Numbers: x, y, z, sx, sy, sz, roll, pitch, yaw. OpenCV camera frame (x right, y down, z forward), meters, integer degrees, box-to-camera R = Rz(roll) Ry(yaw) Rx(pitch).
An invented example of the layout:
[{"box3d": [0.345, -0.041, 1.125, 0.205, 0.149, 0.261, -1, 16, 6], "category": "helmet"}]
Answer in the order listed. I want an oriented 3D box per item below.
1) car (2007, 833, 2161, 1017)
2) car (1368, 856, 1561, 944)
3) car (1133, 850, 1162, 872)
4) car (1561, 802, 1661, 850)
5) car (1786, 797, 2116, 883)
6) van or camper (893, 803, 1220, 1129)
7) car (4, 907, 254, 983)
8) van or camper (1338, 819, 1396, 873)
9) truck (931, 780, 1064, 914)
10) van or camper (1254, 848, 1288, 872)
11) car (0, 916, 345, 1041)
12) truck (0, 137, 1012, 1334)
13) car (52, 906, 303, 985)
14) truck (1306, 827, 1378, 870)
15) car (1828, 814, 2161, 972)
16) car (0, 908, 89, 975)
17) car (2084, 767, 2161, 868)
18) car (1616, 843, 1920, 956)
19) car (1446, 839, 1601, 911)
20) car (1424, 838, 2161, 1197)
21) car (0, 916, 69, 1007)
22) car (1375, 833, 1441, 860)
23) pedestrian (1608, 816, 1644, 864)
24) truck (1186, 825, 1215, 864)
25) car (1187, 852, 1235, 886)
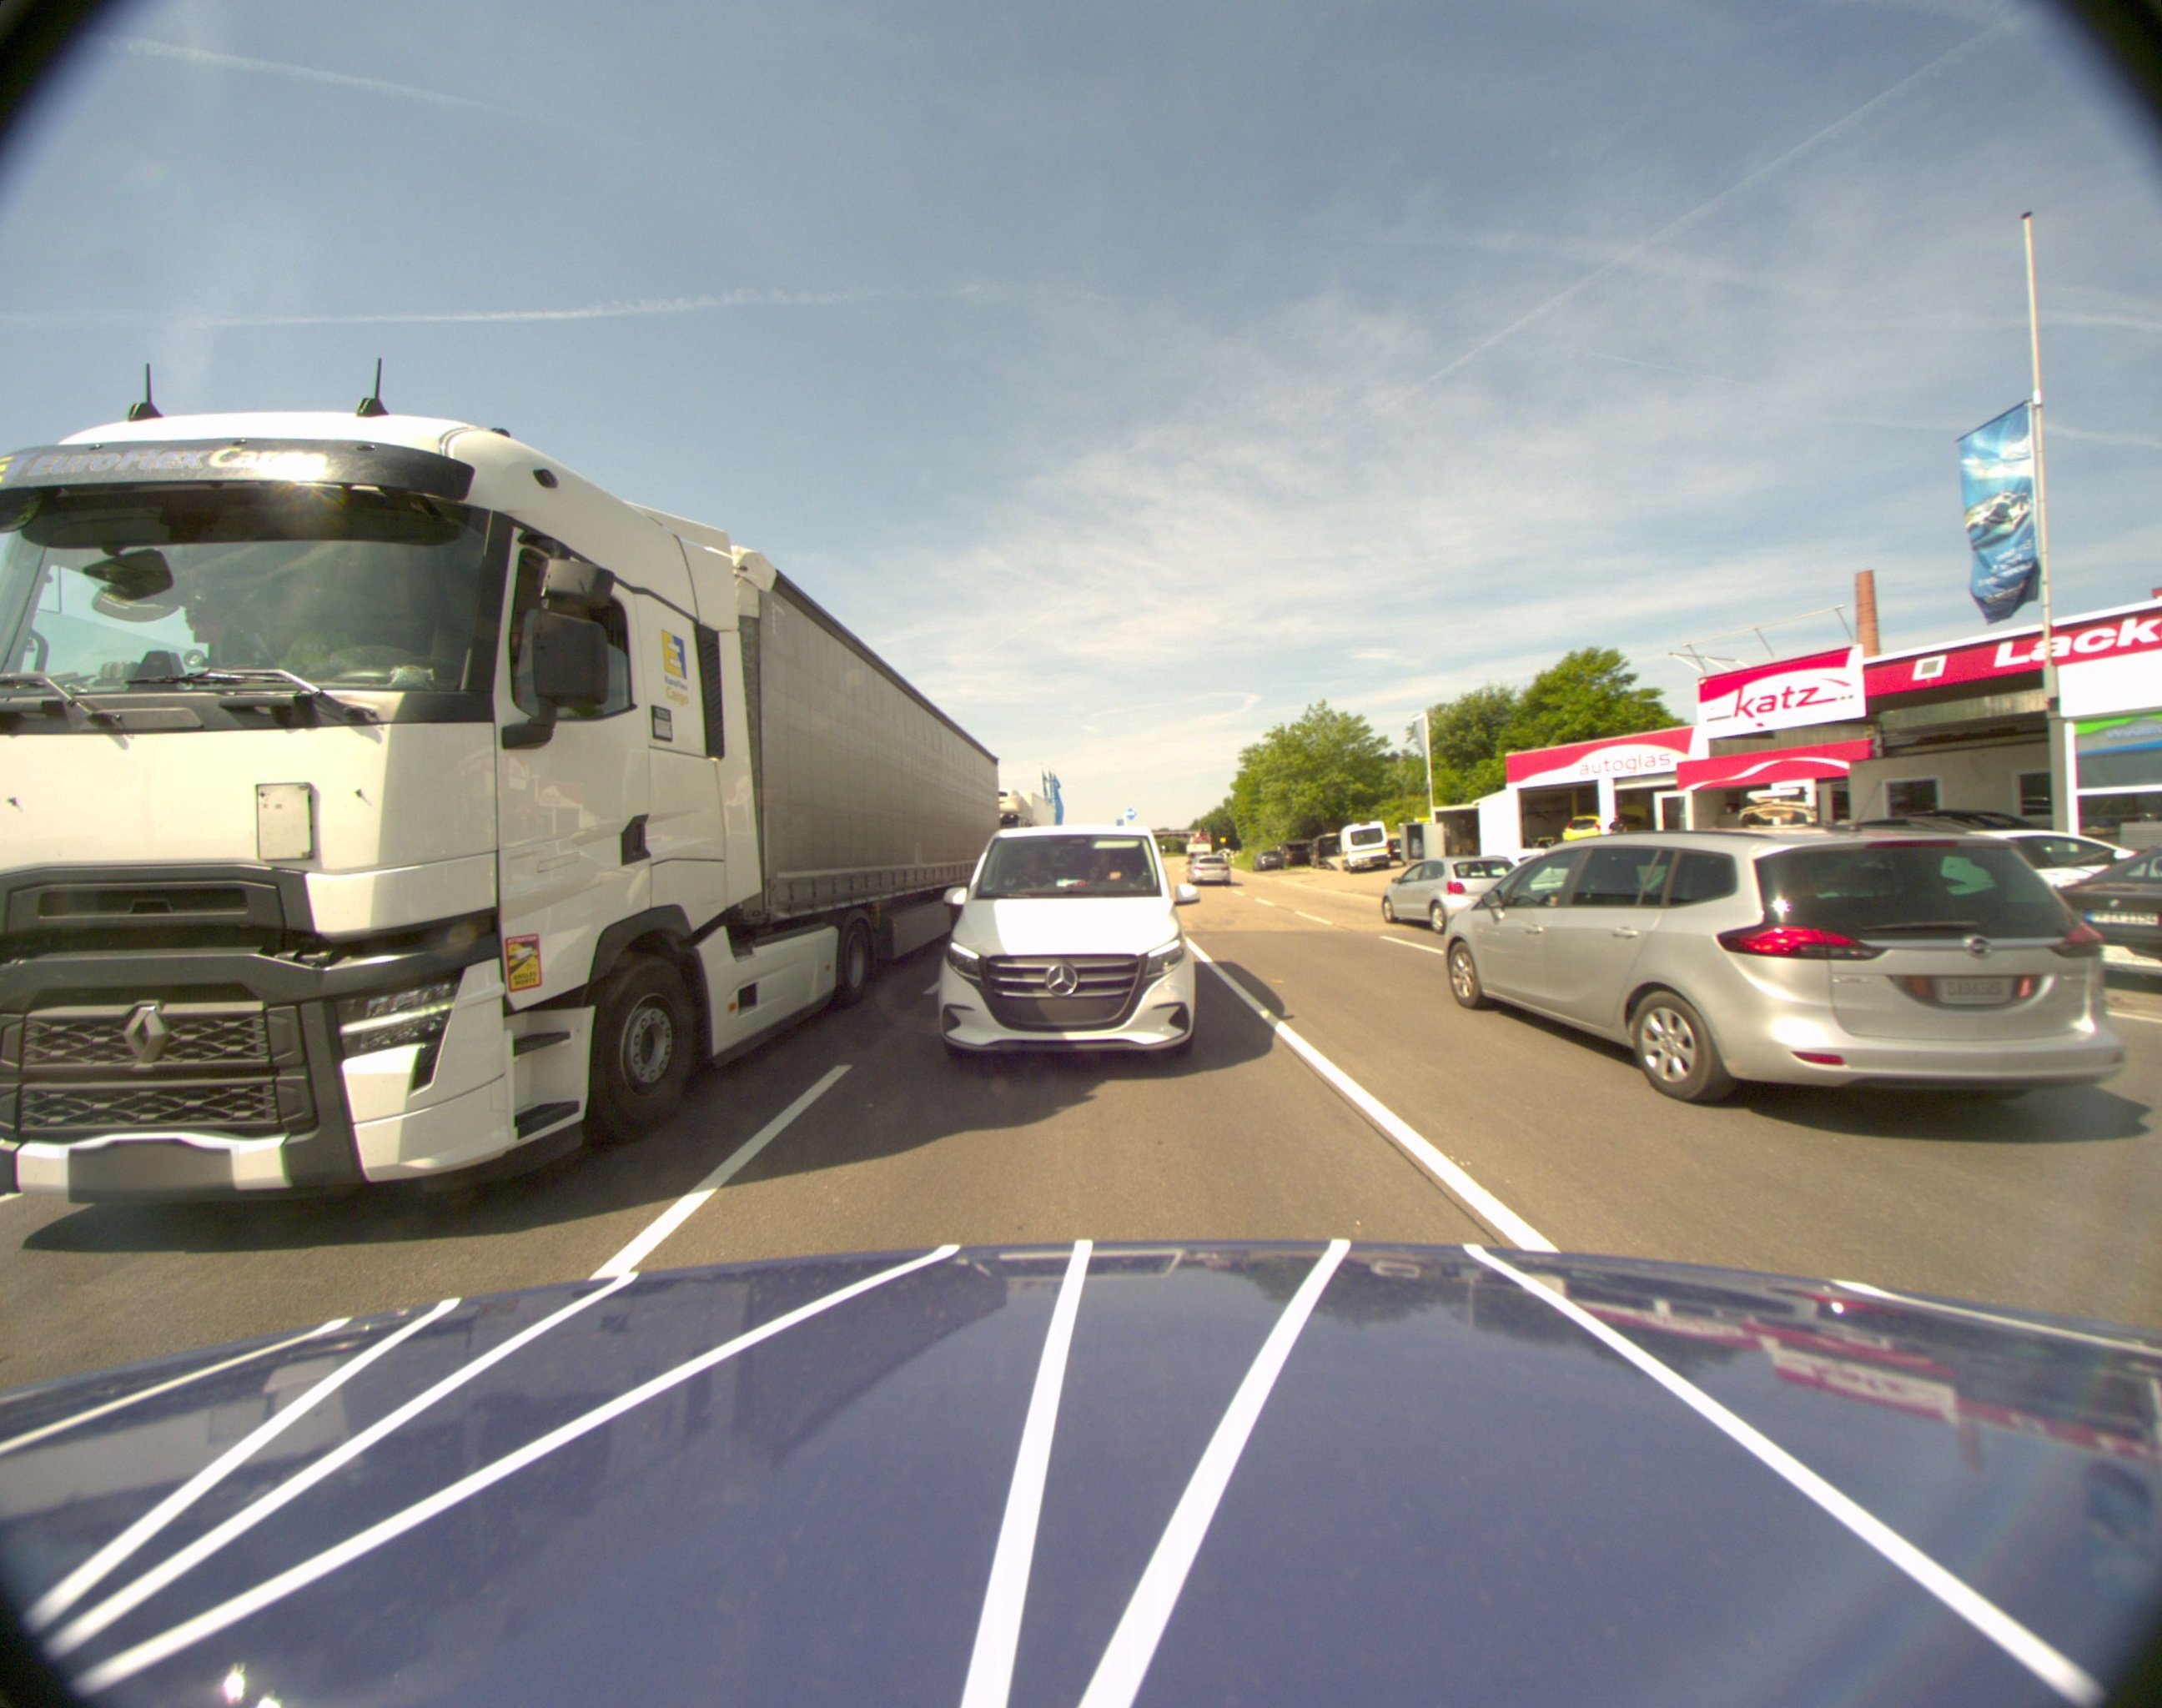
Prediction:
[{"box3d": [11.481, 0.514, 6.990, 3.717, 1.516, 1.792, -6, 1, -2], "category": "car"}, {"box3d": [7.427, 0.811, 15.234, 1.841, 1.440, 4.081, -2, 0, 1], "category": "car"}, {"box3d": [4.926, 0.491, 56.763, 1.810, 1.551, 4.387, -2, 0, 2], "category": "car"}, {"box3d": [22.933, -1.204, 32.875, 3.674, 1.715, 1.736, -6, 2, -21], "category": "car"}, {"box3d": [18.975, -0.223, 16.892, 1.861, 1.496, 4.389, -5, -1, -22], "category": "car"}, {"box3d": [-0.047, 0.717, 7.492, 1.998, 2.002, 5.291, -3, 0, 2], "category": "van or camper"}, {"box3d": [-23.346, 2.170, 18.859, 1.562, 1.401, 3.596, -1, 1, 3], "category": "car"}, {"box3d": [15.352, -0.446, 41.115, 2.157, 2.484, 5.956, -6, 0, 15], "category": "van or camper"}, {"box3d": [-2.559, -0.235, 27.671, 2.886, 3.789, 11.143, -2, 0, 3], "category": "truck"}, {"box3d": [13.625, 0.373, 54.717, 1.643, 1.515, 4.468, -3, 1, 6], "category": "van or camper"}, {"box3d": [-14.273, 1.846, 11.802, 3.669, 1.394, 1.735, -3, 0, -26], "category": "car"}, {"box3d": [-3.618, -0.418, 11.109, 2.897, 4.241, 16.710, -2, 0, 2], "category": "truck"}, {"box3d": [-21.253, 2.089, 18.110, 1.562, 1.401, 3.596, -1, 1, 3], "category": "car"}, {"box3d": [16.578, -0.370, 48.957, 2.335, 2.283, 8.806, -7, 0, 7], "category": "truck"}, {"box3d": [12.447, 0.419, 9.782, 3.806, 1.516, 1.846, -6, 1, -2], "category": "car"}, {"box3d": [-28.814, 2.353, 19.336, 1.707, 1.608, 3.970, -3, 0, 6], "category": "car"}, {"box3d": [20.484, -0.723, 12.962, 1.706, 1.749, 3.754, -6, 2, -25], "category": "car"}, {"box3d": [11.491, 0.659, 13.131, 1.783, 1.485, 3.781, -6, 0, 2], "category": "car"}, {"box3d": [11.358, 0.473, 19.868, 1.783, 1.608, 4.000, -3, 1, 2], "category": "car"}, {"box3d": [4.408, 0.752, 5.612, 1.914, 1.653, 4.180, -1, 0, 1], "category": "car"}, {"box3d": [-21.485, 2.116, 13.158, 1.998, 1.647, 4.282, -3, 0, 4], "category": "car"}, {"box3d": [20.850, -0.480, 48.464, 3.675, 1.521, 1.736, -3, 1, -22], "category": "car"}, {"box3d": [20.926, -0.538, 29.185, 0.724, 1.752, 0.895, -3, 1, 4], "category": "pedestrian"}, {"box3d": [13.627, -1.069, 87.377, 2.962, 4.184, 10.652, 0, 0, 7], "category": "truck"}, {"box3d": [6.387, 0.696, 37.650, 1.913, 1.512, 4.782, -2, 0, 5], "category": "car"}]
